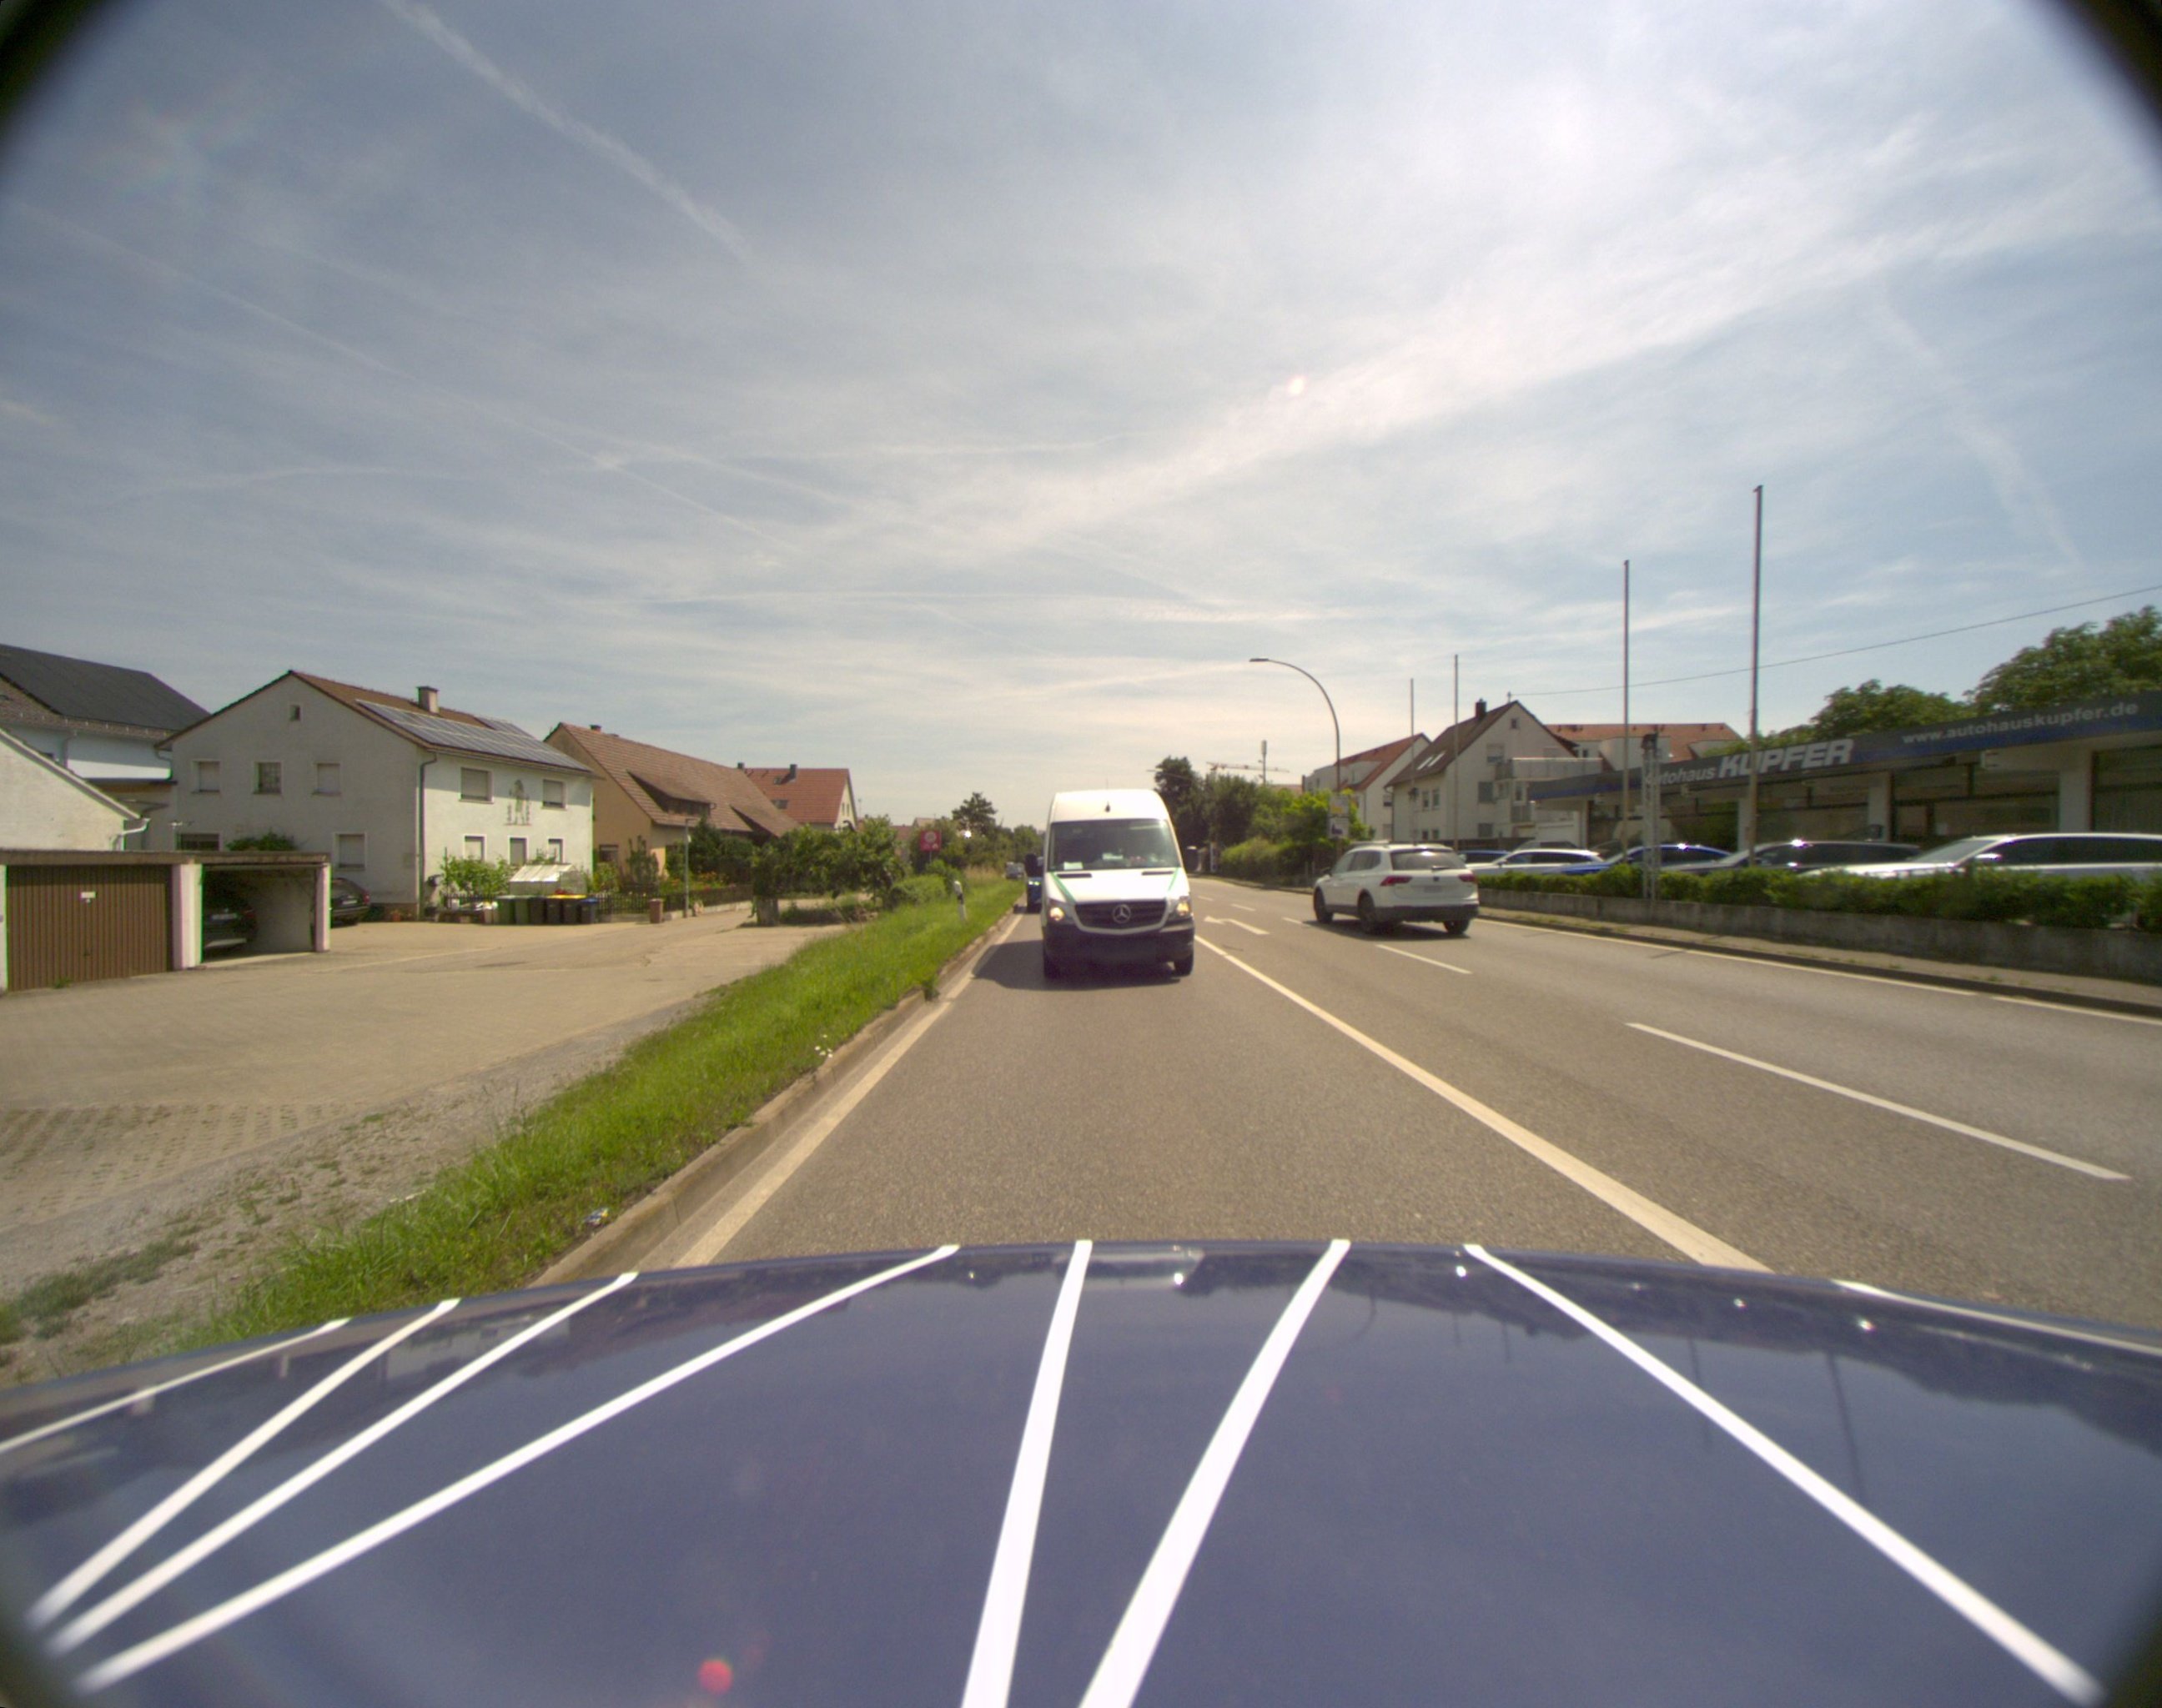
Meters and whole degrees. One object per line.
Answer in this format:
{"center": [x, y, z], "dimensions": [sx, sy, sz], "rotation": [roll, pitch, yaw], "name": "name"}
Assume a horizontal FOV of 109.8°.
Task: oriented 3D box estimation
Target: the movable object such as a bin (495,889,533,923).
{"center": [-21.872, 2.006, 29.324], "dimensions": [0.745, 1.239, 0.889], "rotation": [-2, 0, 0], "name": "movable object such as a bin"}

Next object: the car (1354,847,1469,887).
{"center": [13.841, 0.544, 31.887], "dimensions": [4.255, 1.521, 2.003], "rotation": [-2, 0, 26], "name": "car"}

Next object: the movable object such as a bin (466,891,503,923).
{"center": [-22.805, 2.023, 29.061], "dimensions": [0.740, 1.149, 0.830], "rotation": [-2, 0, 0], "name": "movable object such as a bin"}

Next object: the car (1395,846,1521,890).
{"center": [13.888, 0.528, 28.108], "dimensions": [3.990, 1.455, 2.003], "rotation": [-2, 0, 26], "name": "car"}

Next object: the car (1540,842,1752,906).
{"center": [14.016, 0.508, 19.166], "dimensions": [3.990, 1.433, 1.857], "rotation": [-2, 0, 25], "name": "car"}

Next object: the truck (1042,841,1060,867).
{"center": [-4.557, -0.038, 117.287], "dimensions": [2.506, 3.847, 5.497], "rotation": [-2, 0, -1], "name": "truck"}

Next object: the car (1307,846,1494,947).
{"center": [6.098, 0.731, 15.143], "dimensions": [1.850, 1.645, 4.403], "rotation": [-2, 0, 0], "name": "car"}

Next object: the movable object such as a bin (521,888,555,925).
{"center": [-20.953, 2.011, 29.328], "dimensions": [0.678, 1.330, 0.820], "rotation": [-2, 0, 0], "name": "movable object such as a bin"}

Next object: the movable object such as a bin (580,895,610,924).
{"center": [-18.605, 2.129, 29.099], "dimensions": [0.645, 1.021, 0.756], "rotation": [-2, 0, 0], "name": "movable object such as a bin"}

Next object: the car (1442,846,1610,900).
{"center": [13.671, 0.600, 23.626], "dimensions": [4.303, 1.510, 2.003], "rotation": [-2, 0, 27], "name": "car"}

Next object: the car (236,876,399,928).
{"center": [-27.349, 1.704, 27.329], "dimensions": [3.997, 1.724, 1.828], "rotation": [0, 1, 0], "name": "car"}

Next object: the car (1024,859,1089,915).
{"center": [-0.707, 0.959, 23.648], "dimensions": [1.824, 1.574, 3.901], "rotation": [-1, 0, 0], "name": "car"}

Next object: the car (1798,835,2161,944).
{"center": [14.122, 0.511, 11.537], "dimensions": [4.329, 1.451, 1.858], "rotation": [-2, 0, 25], "name": "car"}

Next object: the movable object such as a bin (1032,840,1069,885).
{"center": [-1.918, 0.527, 49.625], "dimensions": [1.998, 2.710, 5.419], "rotation": [-2, 0, 2], "name": "movable object such as a bin"}

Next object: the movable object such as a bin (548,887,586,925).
{"center": [-19.616, 1.957, 29.016], "dimensions": [0.765, 1.362, 0.946], "rotation": [-2, 0, 0], "name": "movable object such as a bin"}

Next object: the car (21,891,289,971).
{"center": [-21.421, 1.742, 17.701], "dimensions": [3.997, 1.594, 1.826], "rotation": [-1, 0, 1], "name": "car"}

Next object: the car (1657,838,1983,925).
{"center": [14.388, 0.550, 15.156], "dimensions": [4.251, 1.536, 1.853], "rotation": [-2, 0, 23], "name": "car"}

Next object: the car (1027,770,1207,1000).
{"center": [0.408, 0.373, 11.574], "dimensions": [1.977, 2.583, 5.634], "rotation": [-2, 0, 0], "name": "car"}
